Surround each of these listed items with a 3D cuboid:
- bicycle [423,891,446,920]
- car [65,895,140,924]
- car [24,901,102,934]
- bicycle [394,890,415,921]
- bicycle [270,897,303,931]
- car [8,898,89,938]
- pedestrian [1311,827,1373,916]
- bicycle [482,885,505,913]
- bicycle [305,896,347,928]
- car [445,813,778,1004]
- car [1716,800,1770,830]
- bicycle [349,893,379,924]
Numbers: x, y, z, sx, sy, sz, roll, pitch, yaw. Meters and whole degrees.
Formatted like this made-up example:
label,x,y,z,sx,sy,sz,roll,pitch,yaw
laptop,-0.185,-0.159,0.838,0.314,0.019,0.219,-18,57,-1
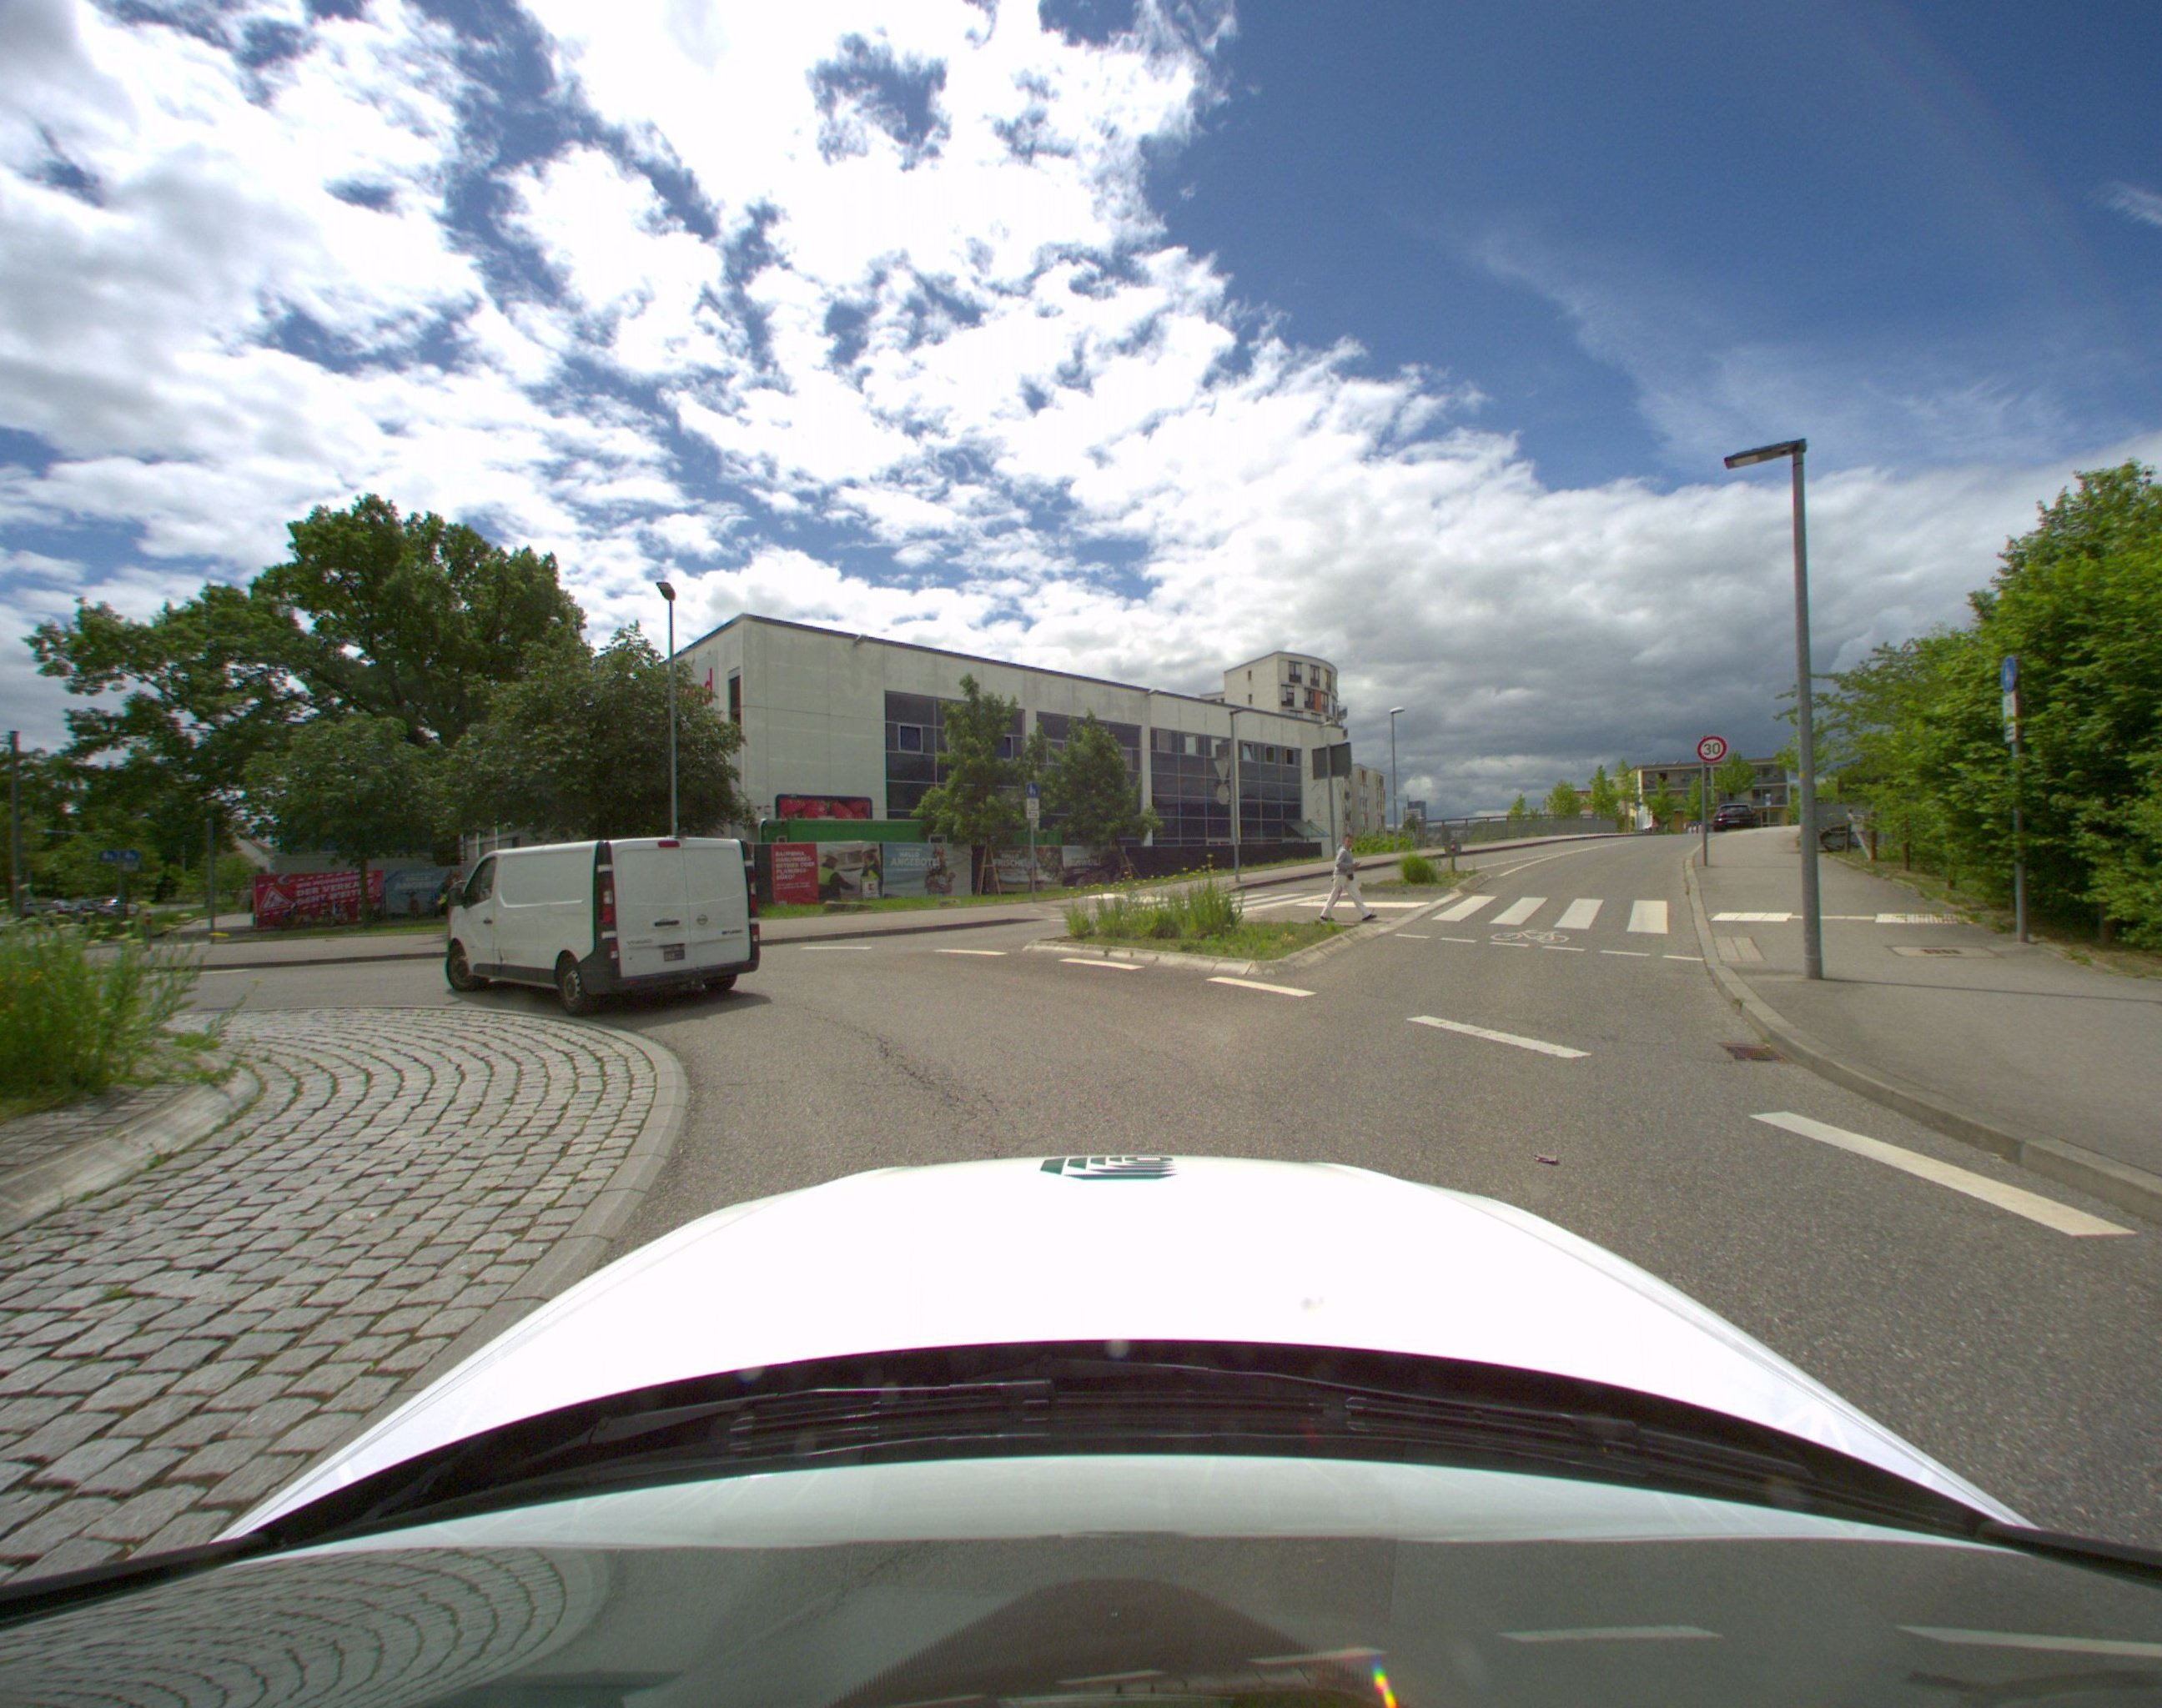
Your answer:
label,x,y,z,sx,sy,sz,roll,pitch,yaw
bicycle,-25.221,1.978,31.773,0.545,1.049,1.945,1,-2,-43
car,-59.653,3.360,49.739,2.079,1.500,3.881,-1,0,-37
car,-56.839,3.519,45.541,2.081,1.476,3.878,-1,0,-42
bicycle,-25.789,1.944,31.044,0.533,1.094,2.046,1,-2,-42
bicycle,-28.222,2.113,28.940,0.635,1.127,1.946,1,-1,-39
car,-52.625,3.224,41.599,1.914,1.744,3.878,-1,0,-42
pedestrian,4.731,0.315,14.738,1.025,1.541,0.899,-1,-1,19
bicycle,-23.635,1.806,32.757,0.635,1.064,1.946,1,-1,-39
bicycle,-27.286,2.079,29.464,0.633,1.049,2.051,1,-1,-30
car,-6.254,0.594,10.599,4.929,1.945,2.054,-1,-1,38
car,37.777,-2.204,46.456,4.023,1.453,1.889,0,-1,-44
bicycle,-26.564,2.001,30.162,2.045,1.049,0.635,-1,-2,44
